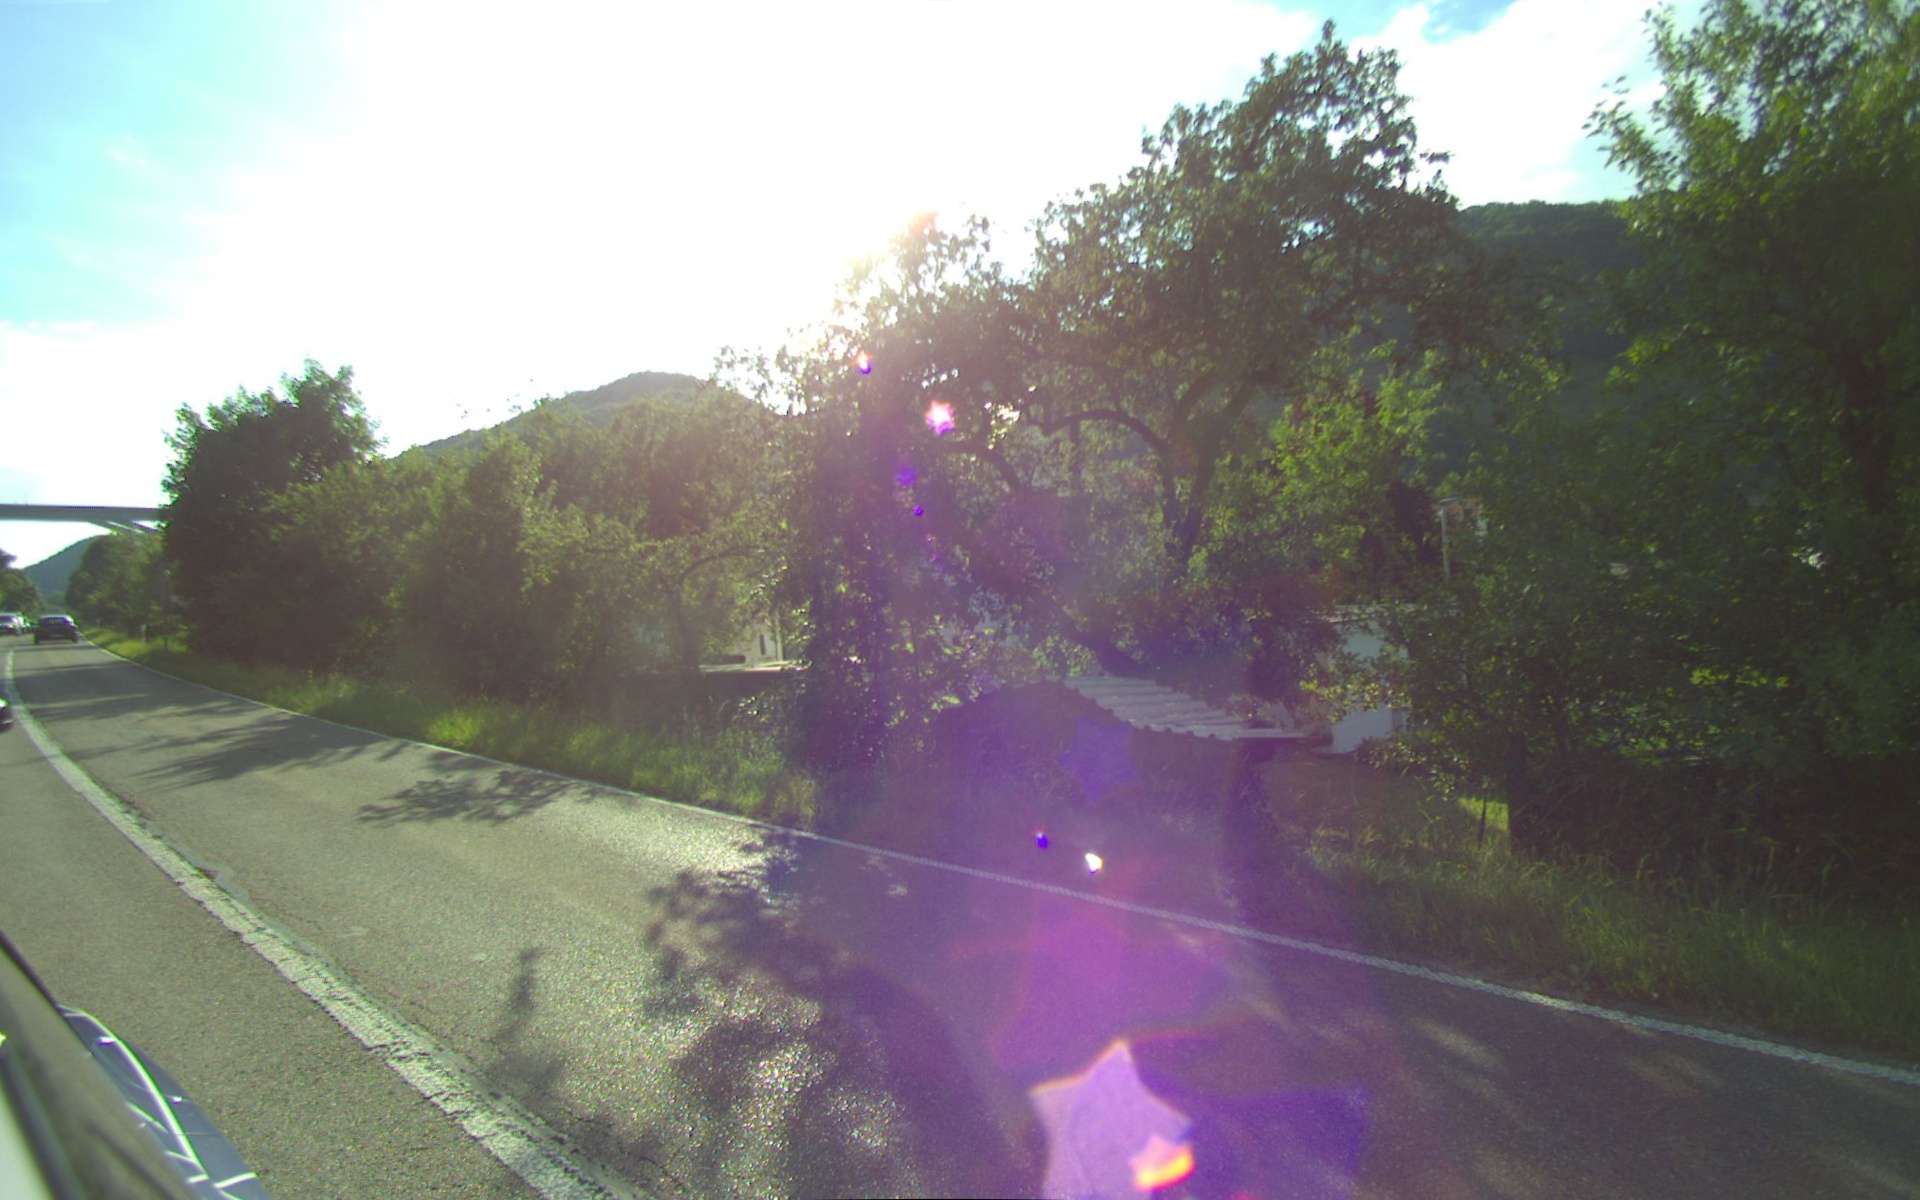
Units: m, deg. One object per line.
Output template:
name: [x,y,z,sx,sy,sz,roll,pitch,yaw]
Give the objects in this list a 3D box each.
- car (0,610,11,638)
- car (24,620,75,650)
car: [-71.266,1.746,74.542,1.970,2.029,4.004,-1,0,-43]
car: [-46.904,1.777,52.101,4.052,1.441,1.685,-1,0,44]
